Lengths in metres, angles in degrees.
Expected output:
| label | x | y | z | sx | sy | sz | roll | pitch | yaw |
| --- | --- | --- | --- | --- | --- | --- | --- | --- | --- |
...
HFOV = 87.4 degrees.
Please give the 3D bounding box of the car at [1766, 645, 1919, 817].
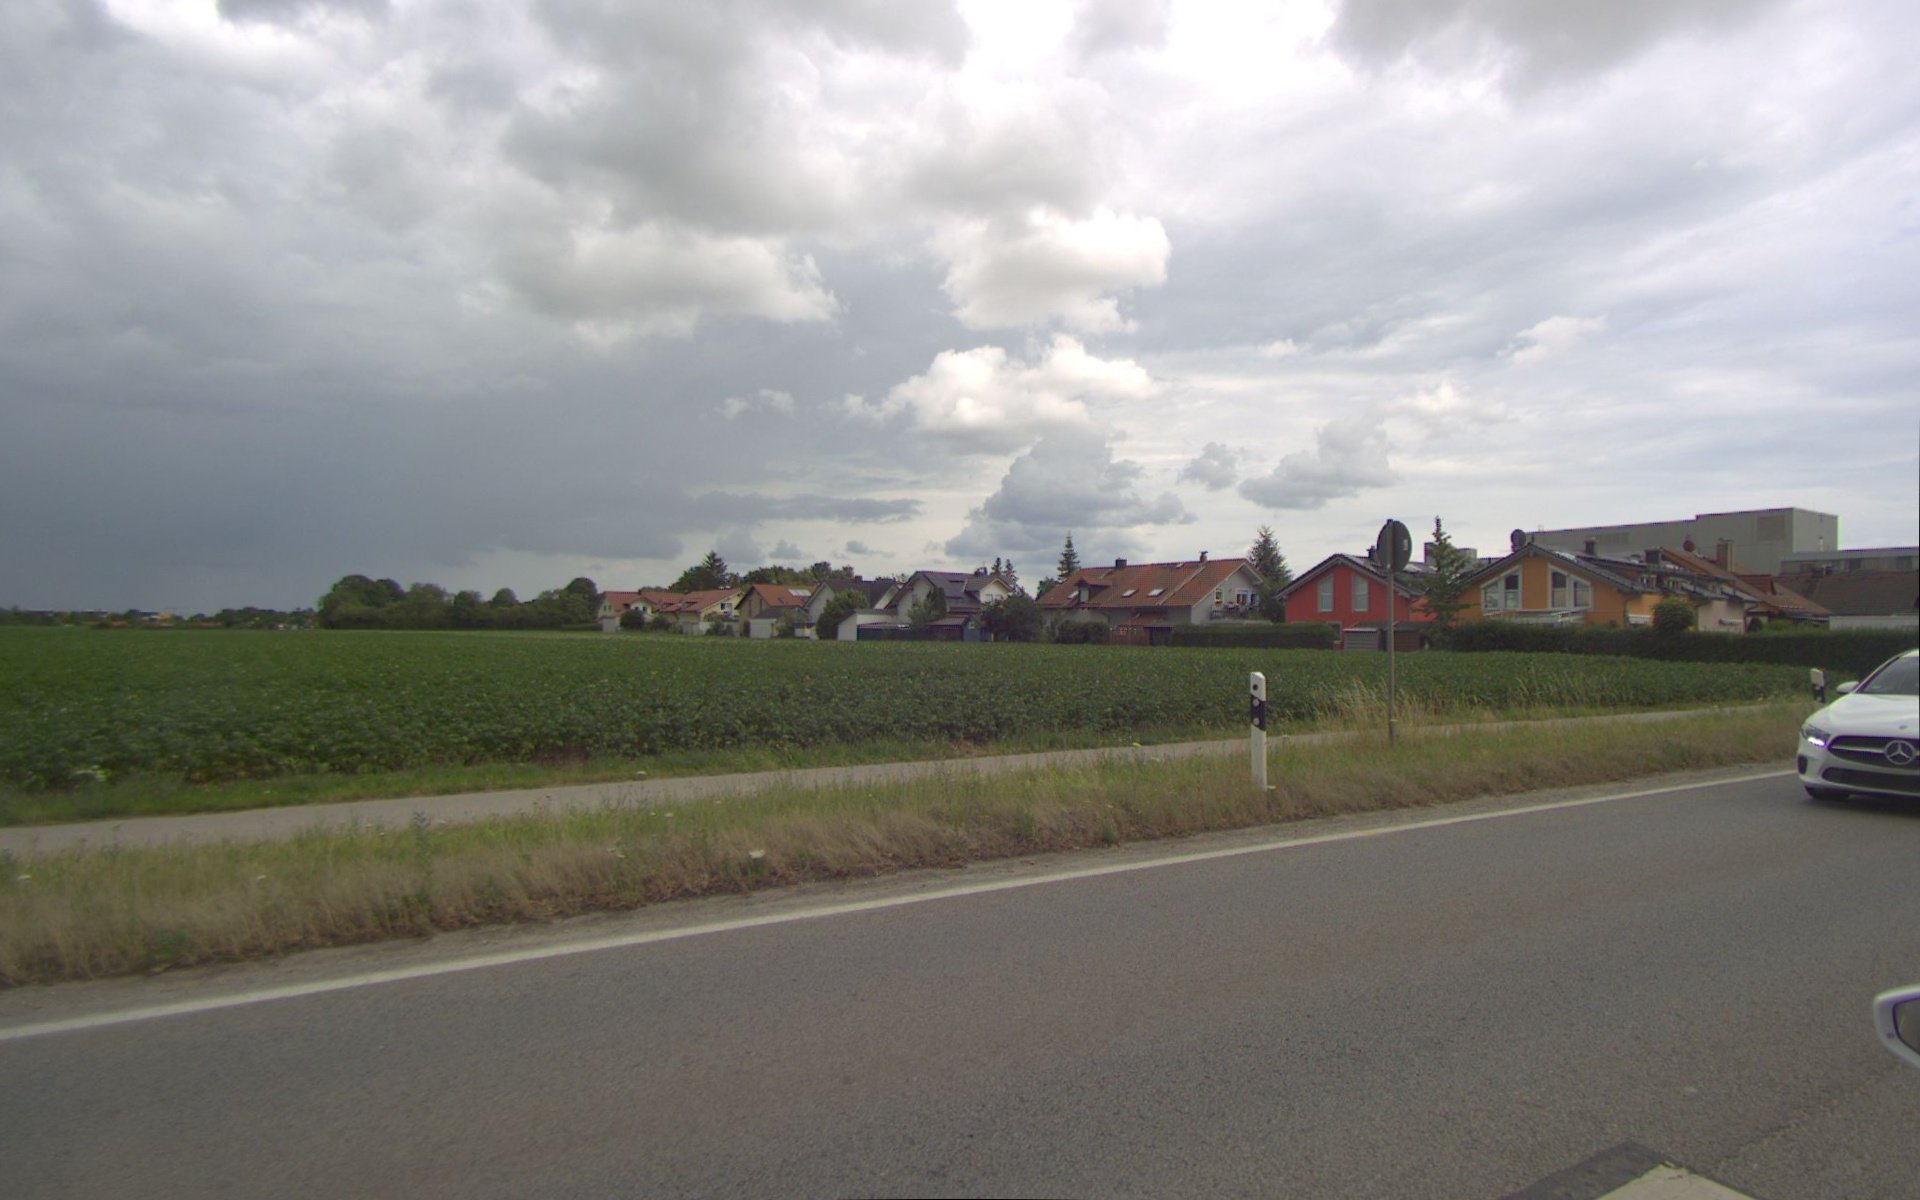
| label | x | y | z | sx | sy | sz | roll | pitch | yaw |
| --- | --- | --- | --- | --- | --- | --- | --- | --- | --- |
| car | 9.438 | 1.111 | 9.273 | 4.052 | 1.391 | 1.765 | 1 | -3 | -30 |
